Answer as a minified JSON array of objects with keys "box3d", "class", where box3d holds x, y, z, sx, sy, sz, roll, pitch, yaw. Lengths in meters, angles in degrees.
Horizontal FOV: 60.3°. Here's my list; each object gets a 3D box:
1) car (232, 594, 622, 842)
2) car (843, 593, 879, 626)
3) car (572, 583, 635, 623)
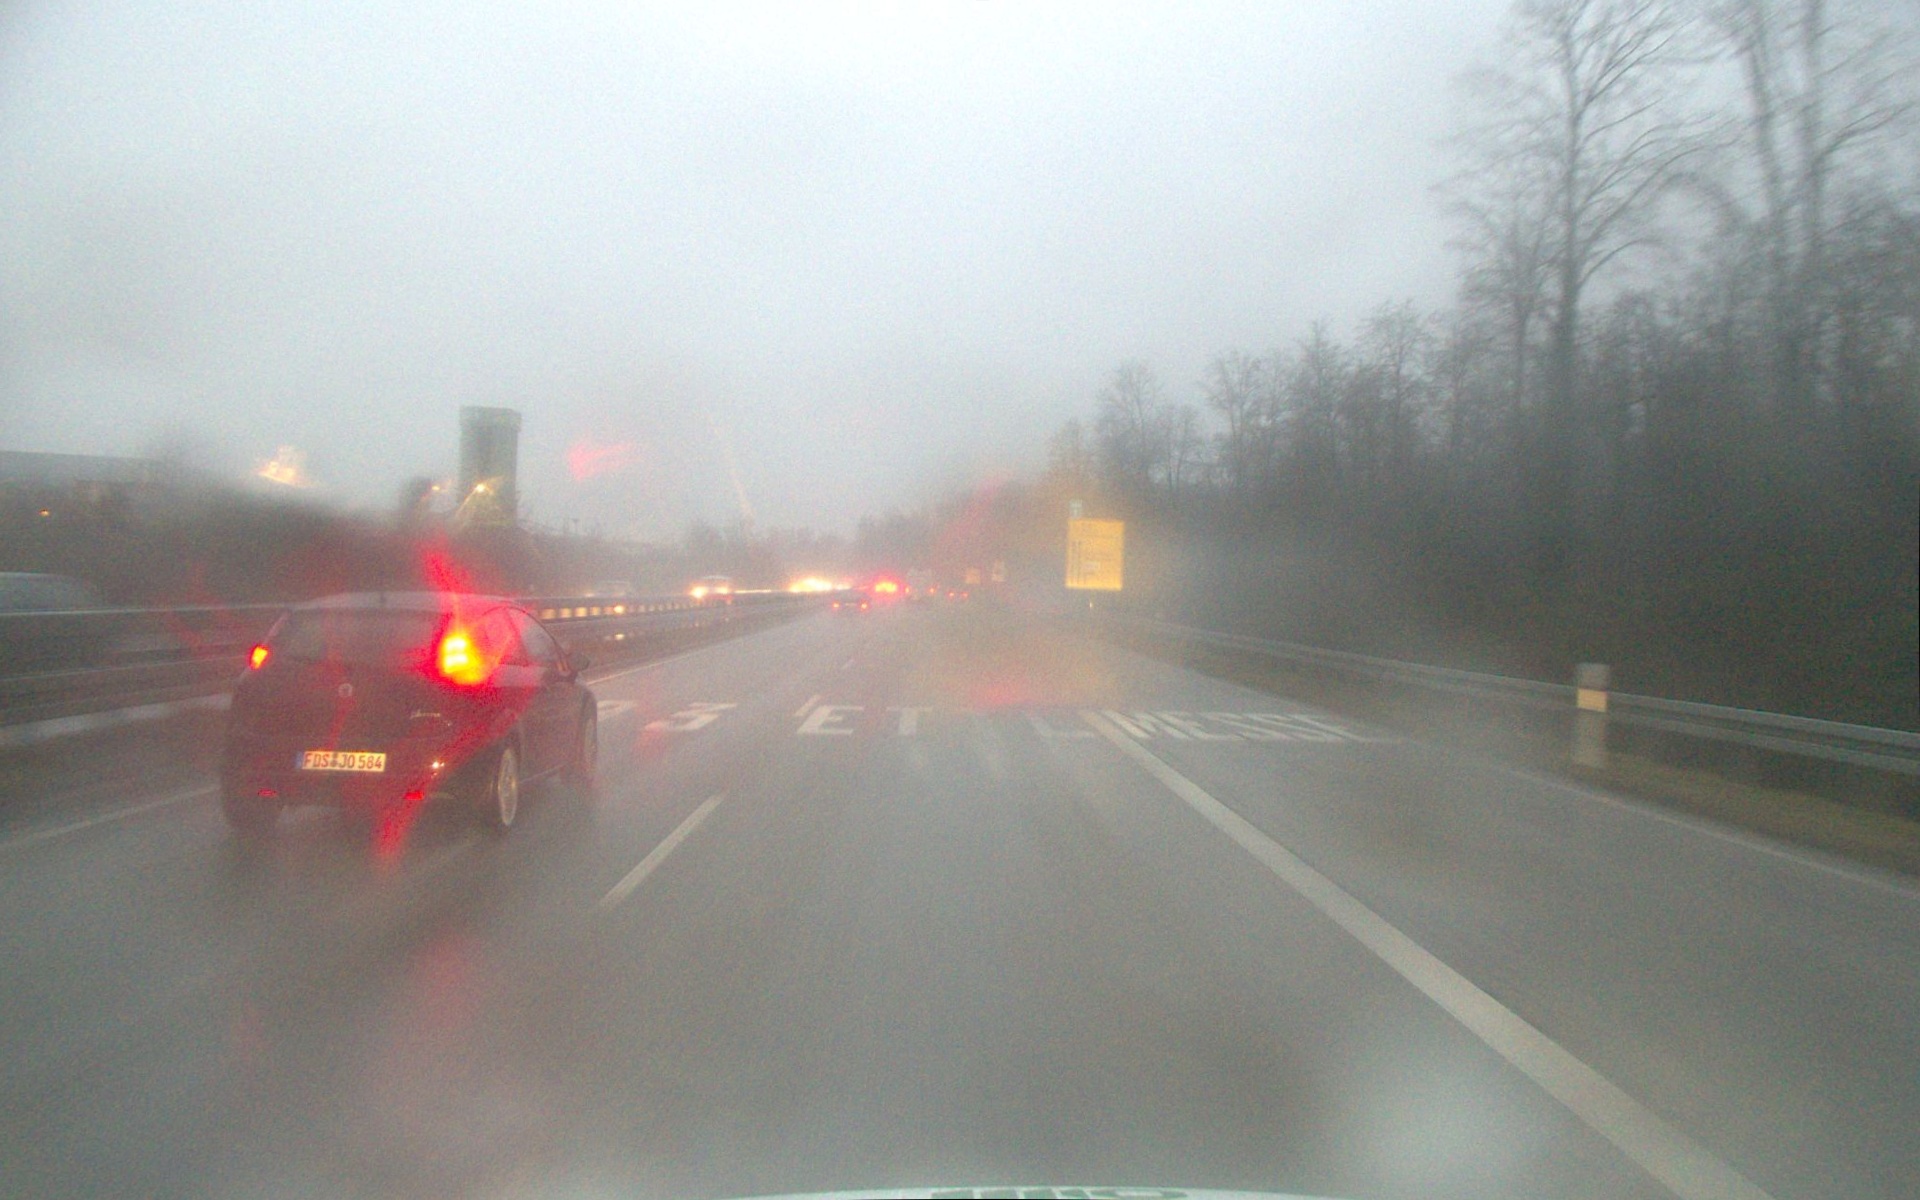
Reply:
[{"box3d":[-3.588,0.707,11.880,1.593,1.416,3.998,2,0,-2],"class":"car"},{"box3d":[-4.343,0.415,72.908,1.387,1.340,3.082,2,0,-1],"class":"car"},{"box3d":[-14.463,0.109,67.286,1.701,1.534,3.999,2,0,-1],"class":"car"}]
